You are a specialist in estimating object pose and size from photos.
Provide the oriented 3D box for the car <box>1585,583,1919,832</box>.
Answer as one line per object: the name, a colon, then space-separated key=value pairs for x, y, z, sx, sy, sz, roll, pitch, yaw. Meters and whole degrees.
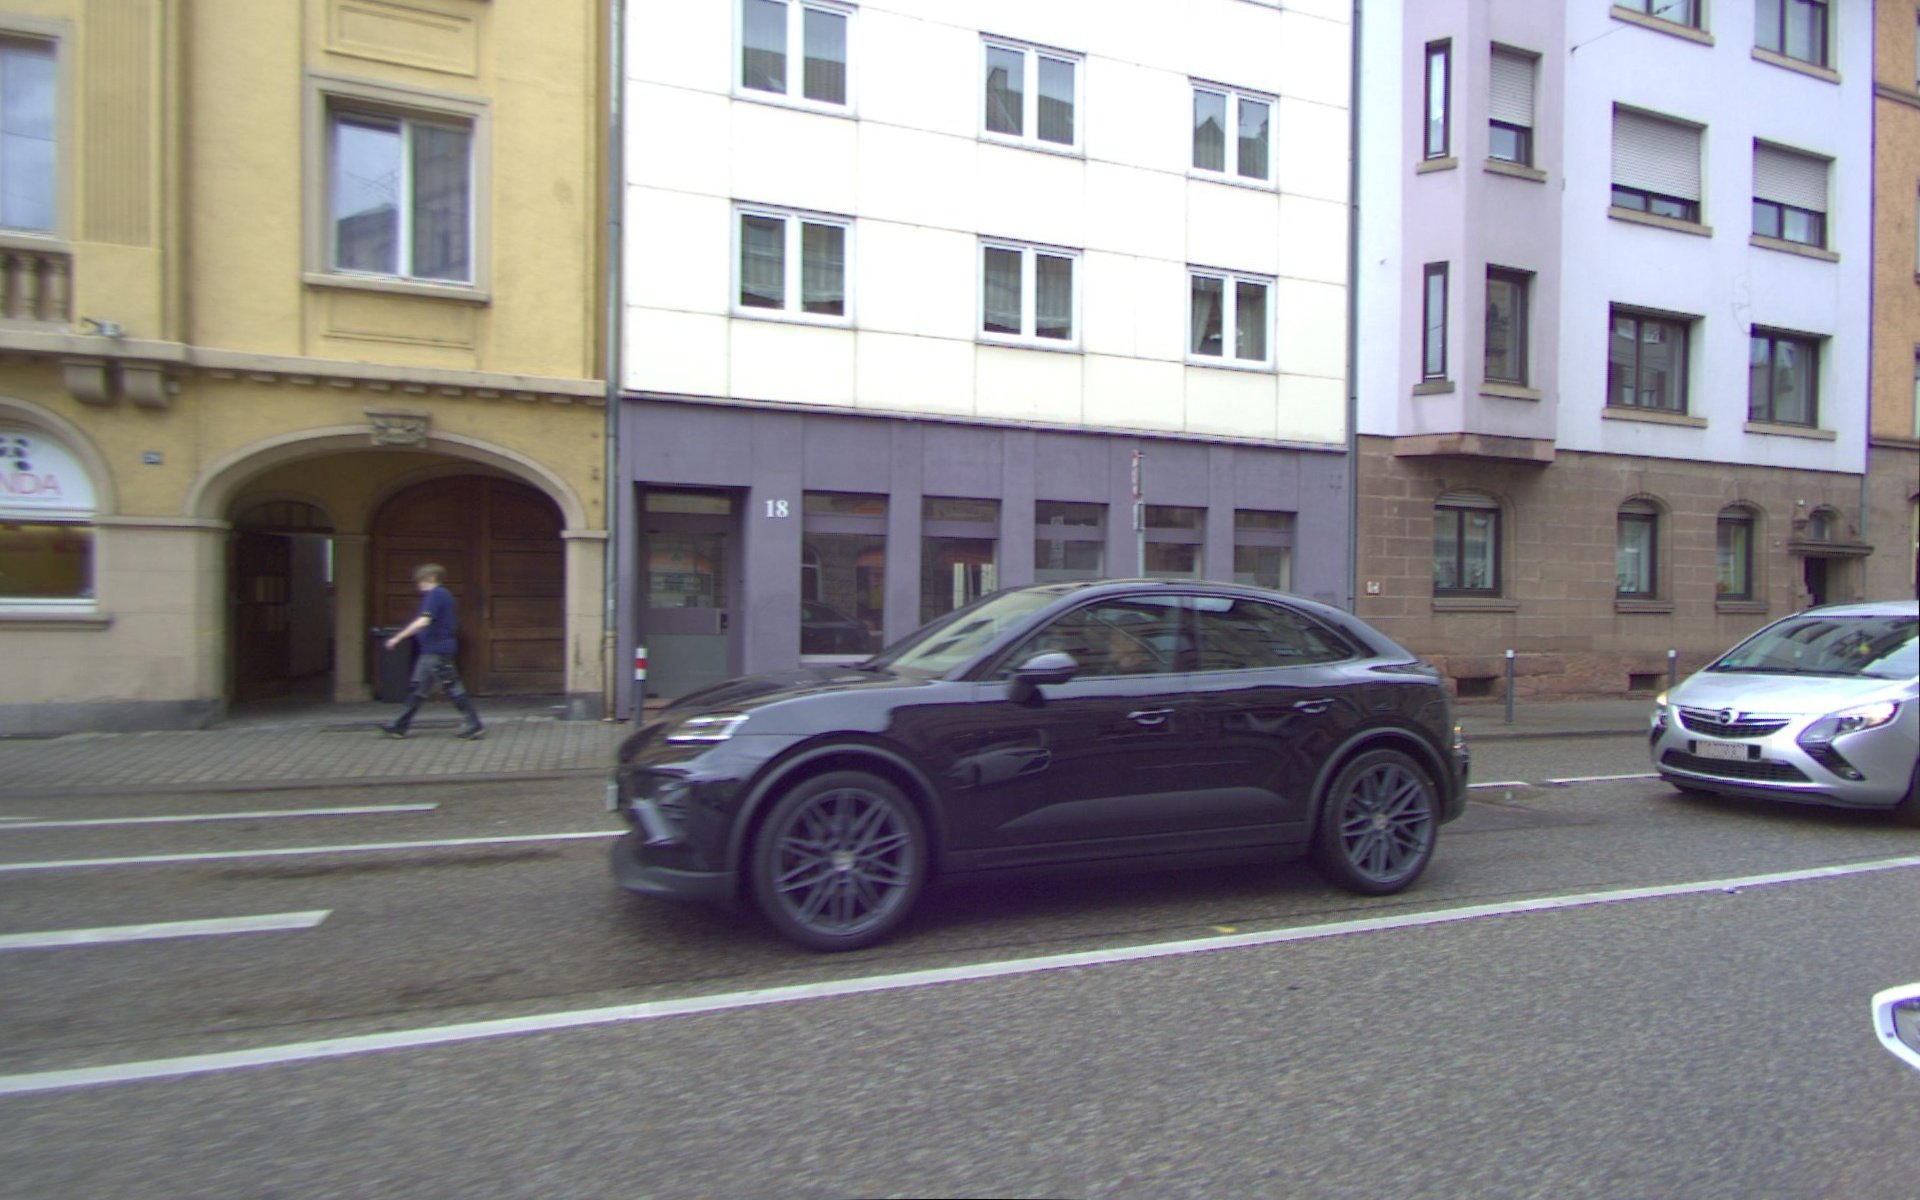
car: x=7.588 y=0.760 z=8.197 sx=4.453 sy=1.604 sz=1.940 roll=1 pitch=-1 yaw=-21

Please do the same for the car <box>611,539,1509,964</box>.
car: x=0.509 y=0.639 z=5.523 sx=4.536 sy=1.604 sz=1.940 roll=1 pitch=-1 yaw=-21

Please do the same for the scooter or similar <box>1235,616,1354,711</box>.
scooter or similar: x=4.591 y=0.867 z=13.790 sx=1.555 sy=1.230 sz=0.460 roll=1 pitch=3 yaw=-22

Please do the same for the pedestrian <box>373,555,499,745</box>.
pedestrian: x=-5.252 y=0.474 z=10.136 sx=1.017 sy=1.795 sz=0.891 roll=1 pitch=3 yaw=-22
